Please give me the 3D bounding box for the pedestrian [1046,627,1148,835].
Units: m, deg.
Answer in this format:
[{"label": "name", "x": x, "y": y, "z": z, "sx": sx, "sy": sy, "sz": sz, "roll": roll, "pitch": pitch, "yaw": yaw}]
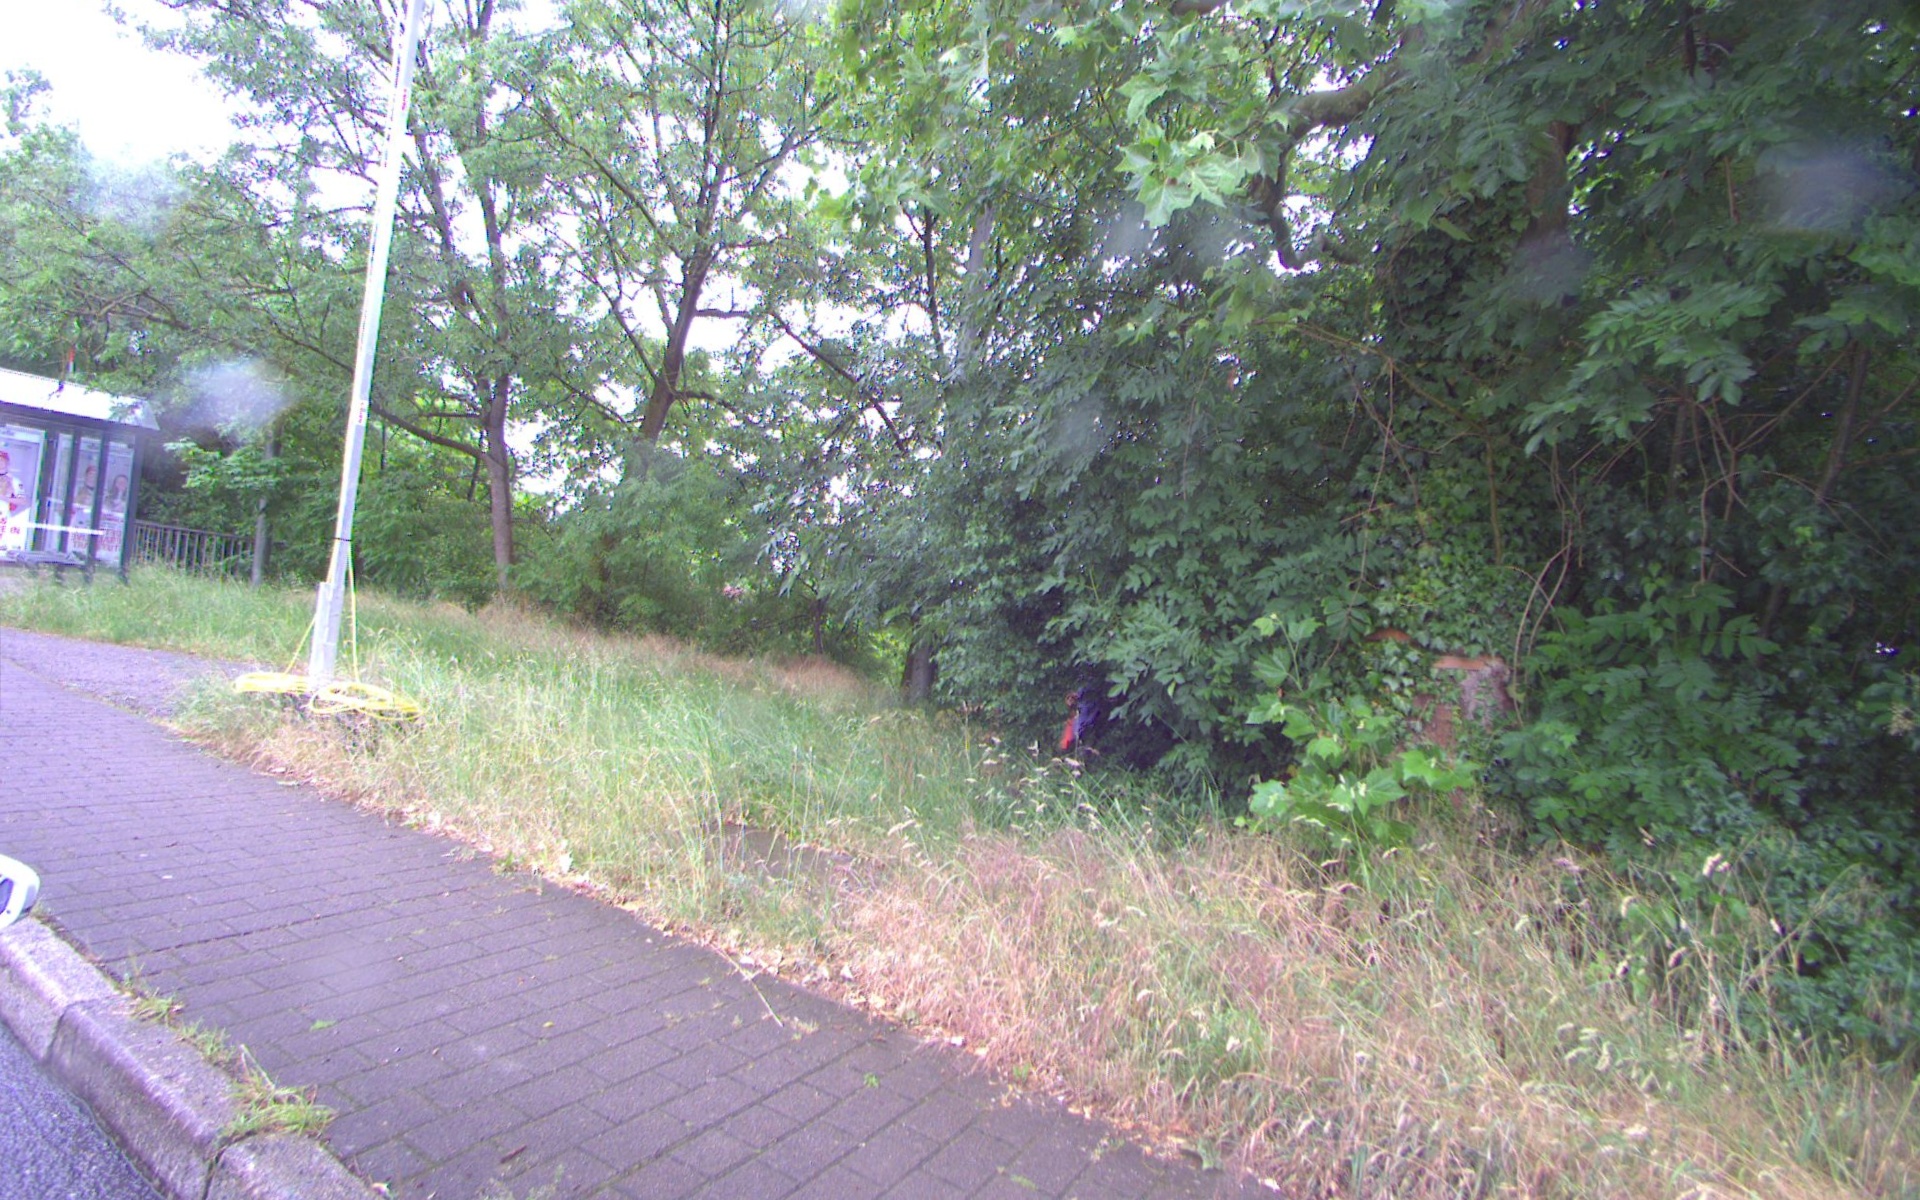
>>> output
[{"label": "pedestrian", "x": 1.276, "y": 1.172, "z": 9.274, "sx": 0.655, "sy": 1.761, "sz": 0.685, "roll": 7, "pitch": 0, "yaw": 14}]
